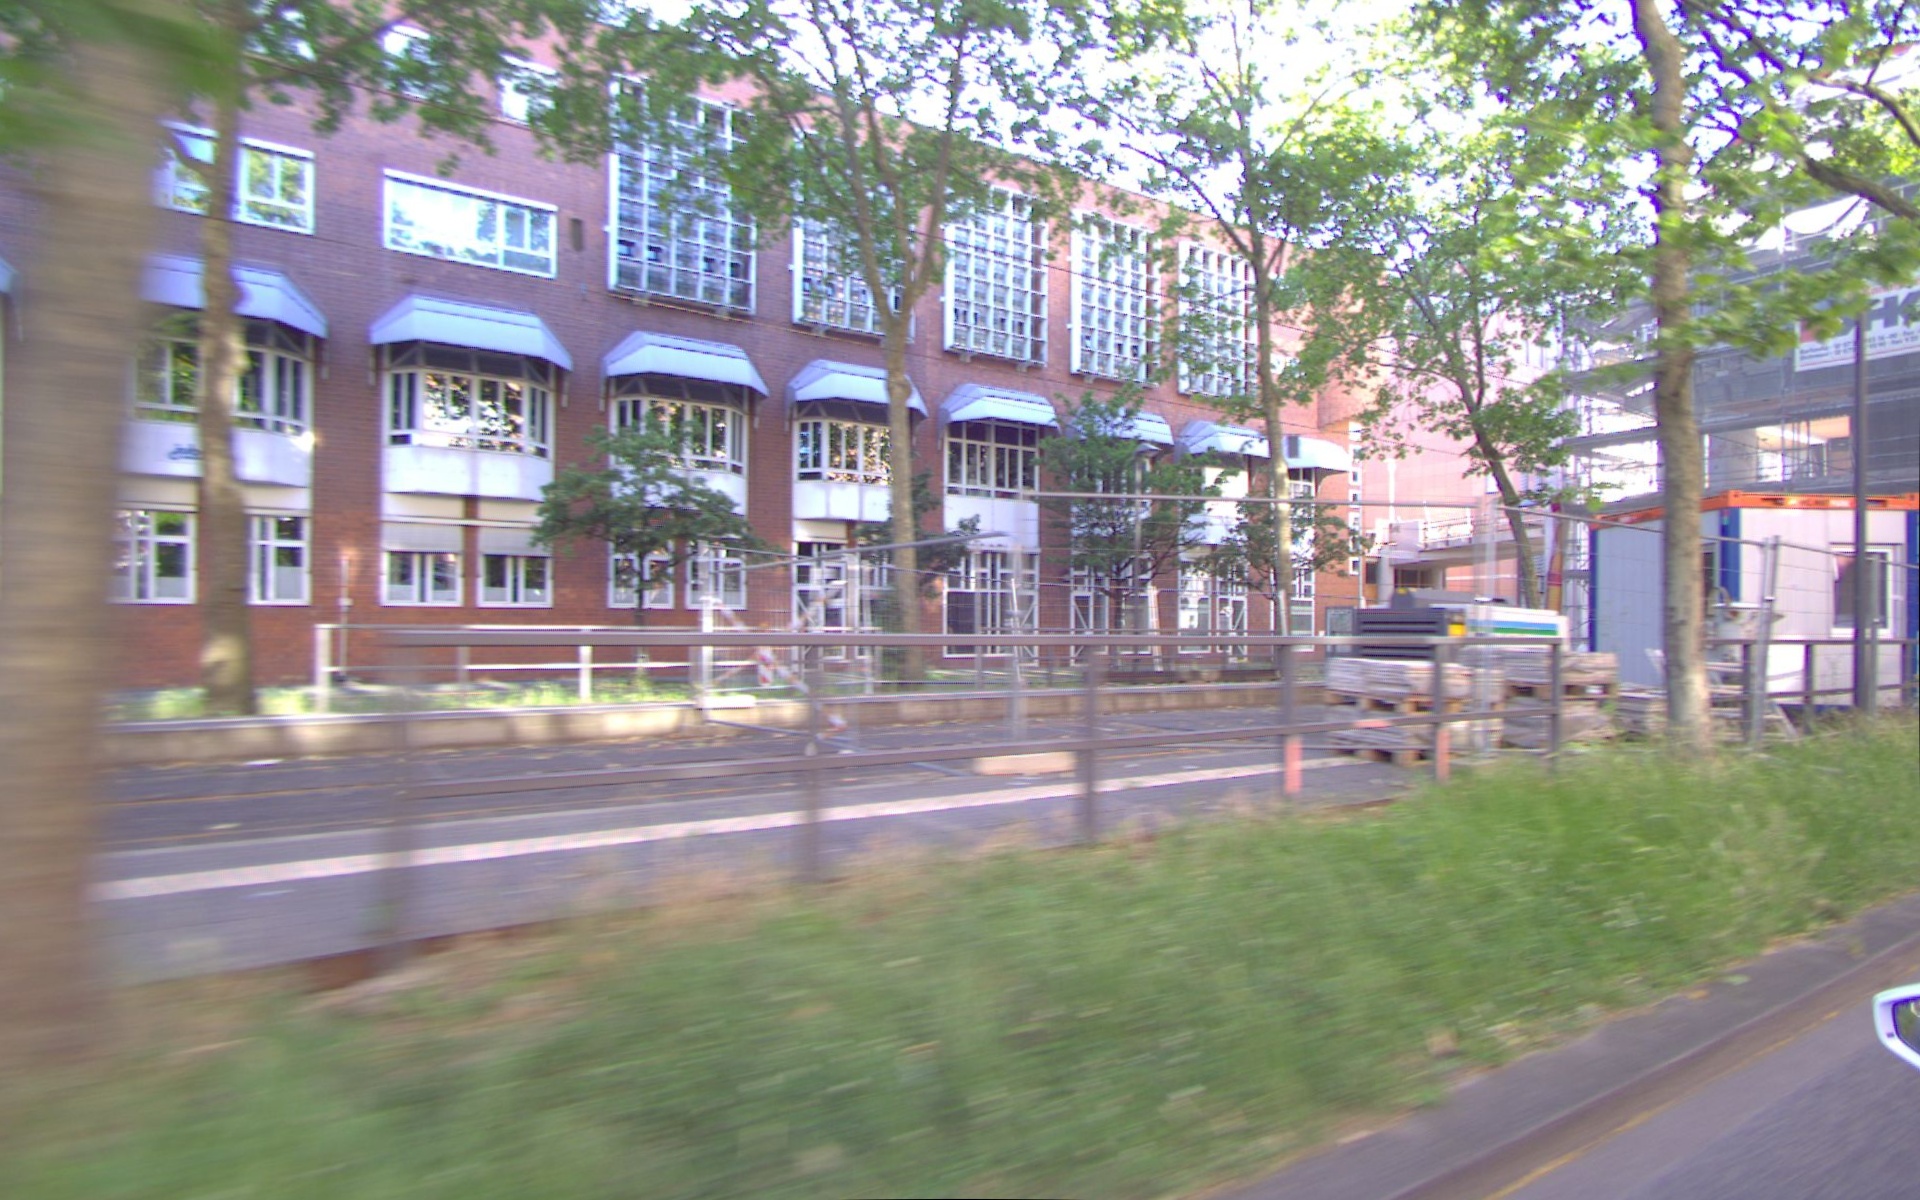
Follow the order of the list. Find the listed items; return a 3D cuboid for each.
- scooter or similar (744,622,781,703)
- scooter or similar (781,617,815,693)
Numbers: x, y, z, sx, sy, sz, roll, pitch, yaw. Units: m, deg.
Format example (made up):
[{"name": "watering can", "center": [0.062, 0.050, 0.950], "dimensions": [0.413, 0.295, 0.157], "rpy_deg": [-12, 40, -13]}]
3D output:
[{"name": "scooter or similar", "center": [-4.413, 1.384, 22.407], "dimensions": [0.570, 1.749, 0.525], "rpy_deg": [2, 0, -41]}, {"name": "scooter or similar", "center": [-3.822, 1.285, 23.718], "dimensions": [0.570, 1.749, 0.525], "rpy_deg": [2, 0, -41]}]
